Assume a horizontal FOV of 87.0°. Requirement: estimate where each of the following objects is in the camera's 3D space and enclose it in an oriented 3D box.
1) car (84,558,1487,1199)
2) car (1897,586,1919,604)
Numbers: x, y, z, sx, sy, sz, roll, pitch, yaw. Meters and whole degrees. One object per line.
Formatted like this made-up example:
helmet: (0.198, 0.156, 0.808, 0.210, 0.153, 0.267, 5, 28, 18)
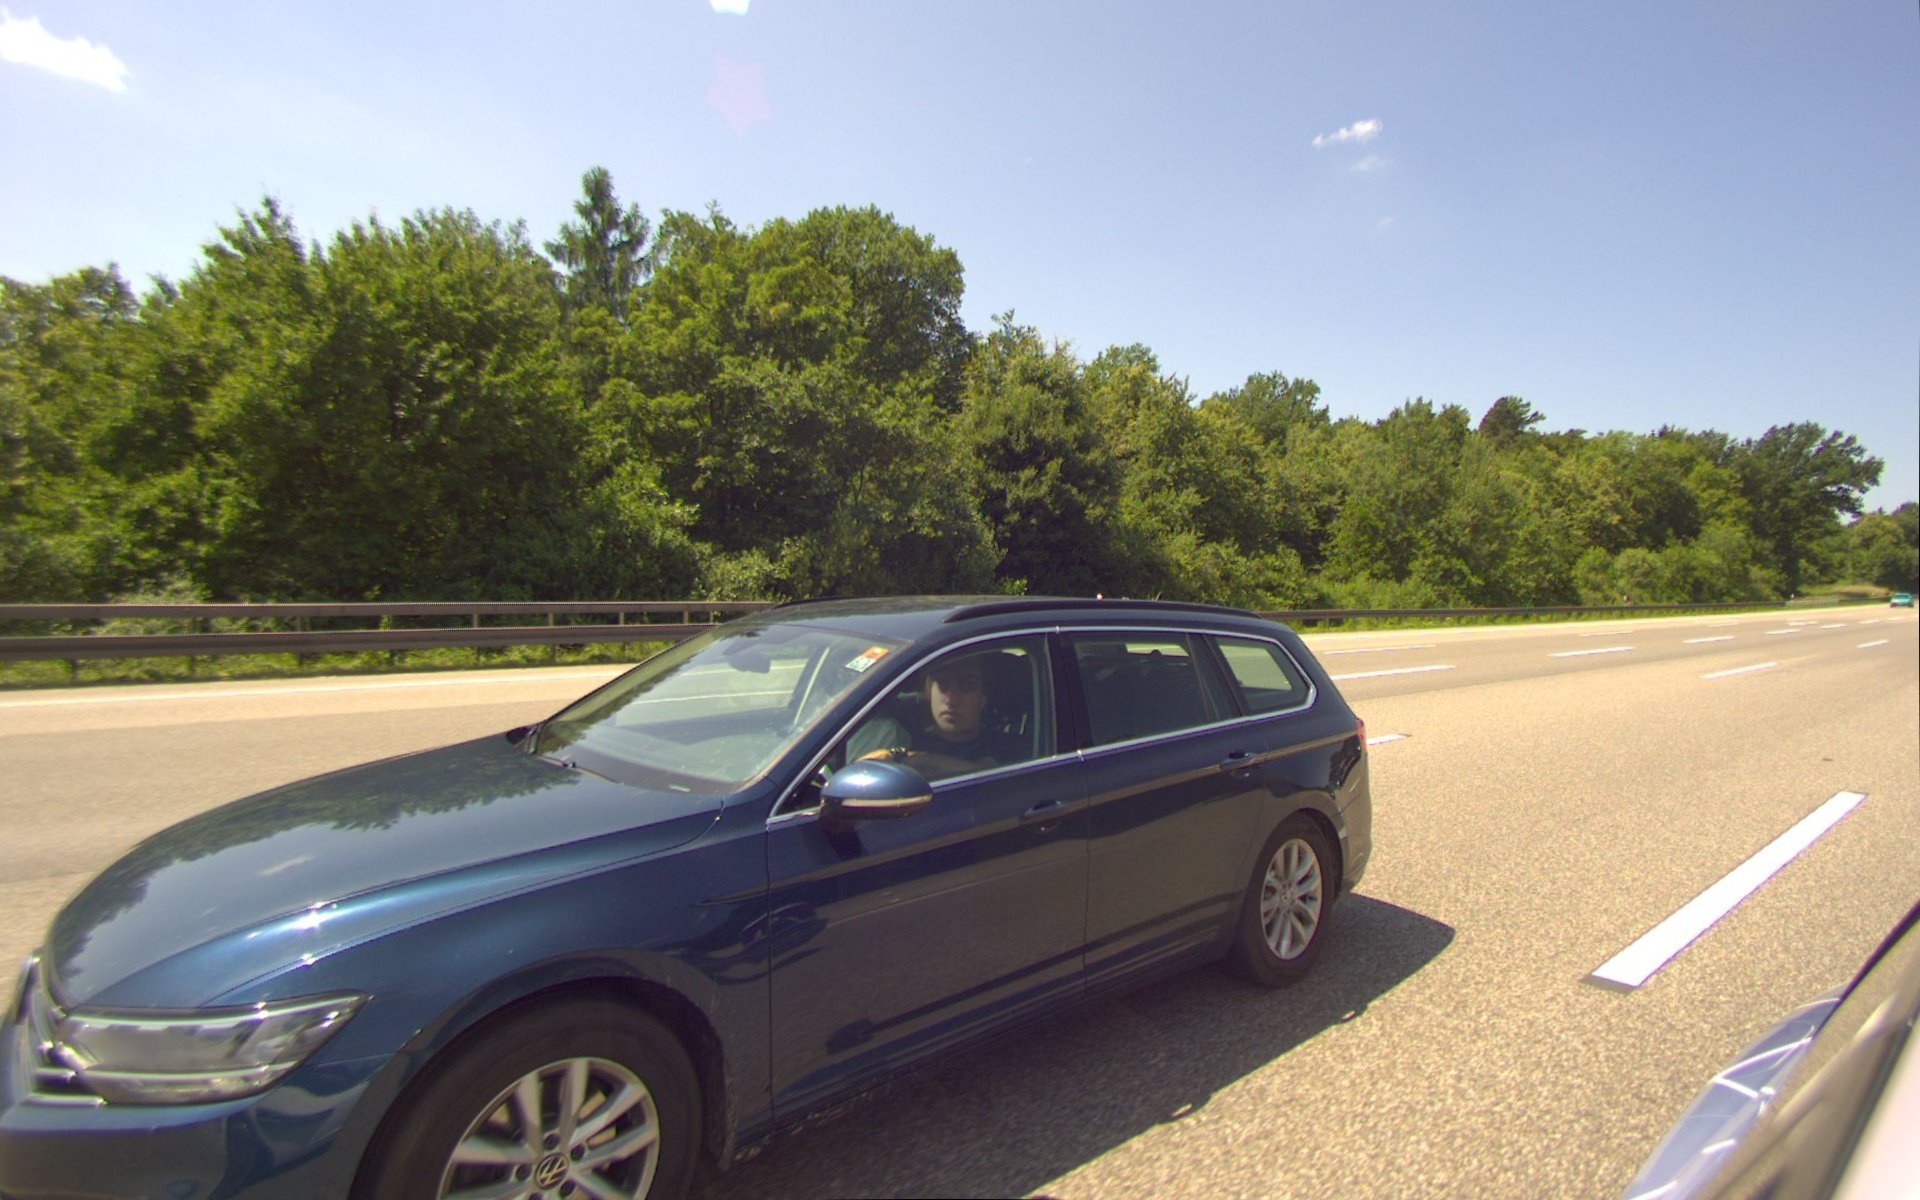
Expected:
car: (0.004, 0.634, 3.751, 4.873, 1.465, 1.733, 0, 2, -40)
car: (97.711, -0.491, 103.616, 4.053, 1.701, 1.999, -1, 3, -39)
